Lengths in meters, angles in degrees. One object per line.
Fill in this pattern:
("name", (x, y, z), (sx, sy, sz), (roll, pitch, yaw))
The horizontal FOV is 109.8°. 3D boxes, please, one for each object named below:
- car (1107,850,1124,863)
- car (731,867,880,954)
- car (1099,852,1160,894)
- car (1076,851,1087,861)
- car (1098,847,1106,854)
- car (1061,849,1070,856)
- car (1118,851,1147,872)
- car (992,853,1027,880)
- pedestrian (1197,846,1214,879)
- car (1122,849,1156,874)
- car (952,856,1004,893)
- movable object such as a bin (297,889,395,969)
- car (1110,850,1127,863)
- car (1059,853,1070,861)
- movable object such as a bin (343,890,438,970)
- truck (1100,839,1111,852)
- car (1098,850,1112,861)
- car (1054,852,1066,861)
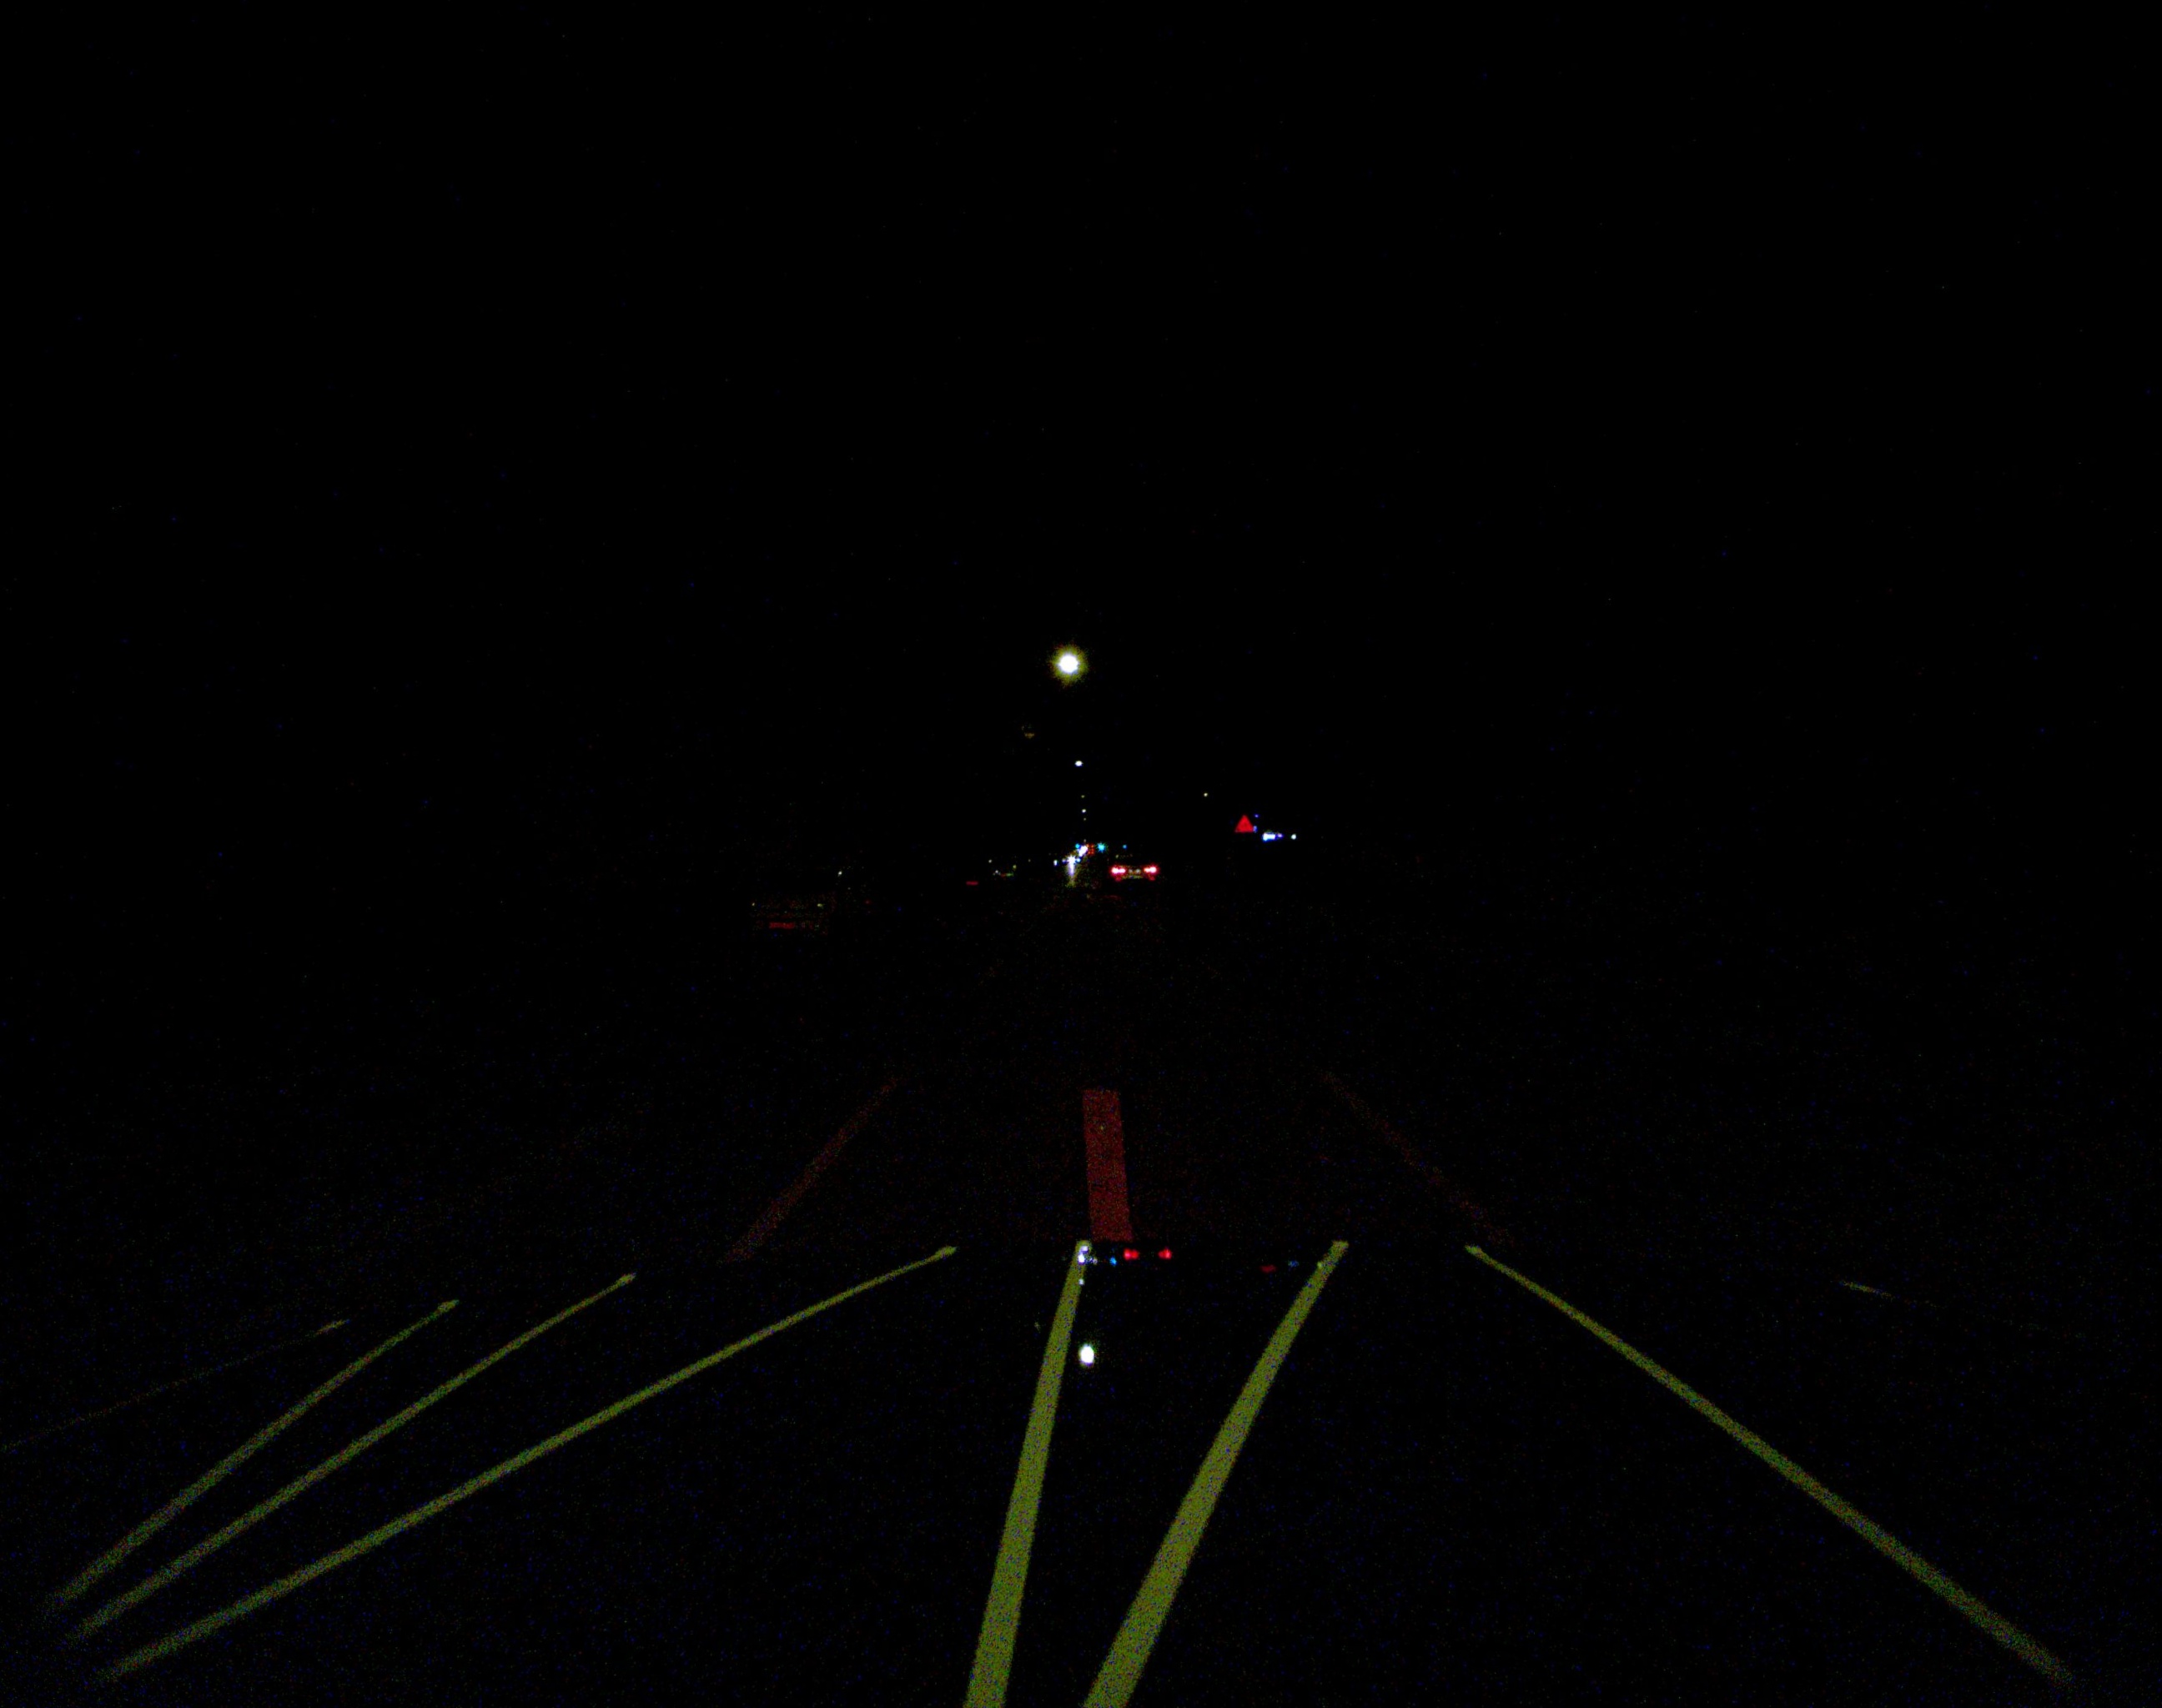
("car", (4.726, 0.348, 105.123), (1.874, 1.635, 3.999), (-2, 0, -3))
("car", (-5.337, 1.027, 15.200), (1.672, 1.476, 3.603), (0, 0, 0))
("car", (1.876, 0.724, 30.734), (1.862, 1.525, 4.026), (-2, 0, -4))
("car", (0.071, 0.392, 134.137), (1.874, 1.635, 3.999), (-2, 0, 0))
("car", (5.005, -0.771, 180.311), (1.873, 1.551, 4.353), (-2, 0, 1))
("car", (-3.307, -0.352, 162.360), (1.874, 1.407, 3.999), (-2, 0, 0))
("car", (3.892, 0.554, 57.843), (1.864, 1.458, 3.896), (-4, 0, -1))
("car", (-4.453, 0.766, 47.808), (1.742, 1.588, 4.359), (0, 0, 1))
("pedestrian", (6.547, 0.426, 39.972), (0.670, 1.716, 0.866), (-2, 1, -2))
("car", (3.969, 0.511, 52.328), (1.864, 1.524, 4.587), (-4, 0, -1))
("car", (-4.569, 0.866, 34.287), (1.865, 1.544, 4.044), (0, 0, -1))
("movable object such as a bin", (-10.490, 1.059, 10.867), (0.609, 1.042, 0.755), (-2, 1, 1))
("car", (4.968, 0.320, 100.867), (1.874, 1.635, 3.999), (-2, 0, -3))
("car", (-2.980, 0.559, 134.799), (1.874, 1.407, 3.999), (-2, 0, 0))
("movable object such as a bin", (-9.834, 1.067, 10.846), (0.609, 1.042, 0.755), (-2, 1, 1))
("truck", (4.970, -1.634, 155.506), (2.084, 2.562, 6.873), (-2, 0, 1))
("car", (3.730, 0.198, 119.493), (1.874, 1.635, 3.999), (-2, 0, -3))
("car", (-3.578, 0.383, 129.204), (1.874, 1.407, 3.999), (-2, 0, 0))
